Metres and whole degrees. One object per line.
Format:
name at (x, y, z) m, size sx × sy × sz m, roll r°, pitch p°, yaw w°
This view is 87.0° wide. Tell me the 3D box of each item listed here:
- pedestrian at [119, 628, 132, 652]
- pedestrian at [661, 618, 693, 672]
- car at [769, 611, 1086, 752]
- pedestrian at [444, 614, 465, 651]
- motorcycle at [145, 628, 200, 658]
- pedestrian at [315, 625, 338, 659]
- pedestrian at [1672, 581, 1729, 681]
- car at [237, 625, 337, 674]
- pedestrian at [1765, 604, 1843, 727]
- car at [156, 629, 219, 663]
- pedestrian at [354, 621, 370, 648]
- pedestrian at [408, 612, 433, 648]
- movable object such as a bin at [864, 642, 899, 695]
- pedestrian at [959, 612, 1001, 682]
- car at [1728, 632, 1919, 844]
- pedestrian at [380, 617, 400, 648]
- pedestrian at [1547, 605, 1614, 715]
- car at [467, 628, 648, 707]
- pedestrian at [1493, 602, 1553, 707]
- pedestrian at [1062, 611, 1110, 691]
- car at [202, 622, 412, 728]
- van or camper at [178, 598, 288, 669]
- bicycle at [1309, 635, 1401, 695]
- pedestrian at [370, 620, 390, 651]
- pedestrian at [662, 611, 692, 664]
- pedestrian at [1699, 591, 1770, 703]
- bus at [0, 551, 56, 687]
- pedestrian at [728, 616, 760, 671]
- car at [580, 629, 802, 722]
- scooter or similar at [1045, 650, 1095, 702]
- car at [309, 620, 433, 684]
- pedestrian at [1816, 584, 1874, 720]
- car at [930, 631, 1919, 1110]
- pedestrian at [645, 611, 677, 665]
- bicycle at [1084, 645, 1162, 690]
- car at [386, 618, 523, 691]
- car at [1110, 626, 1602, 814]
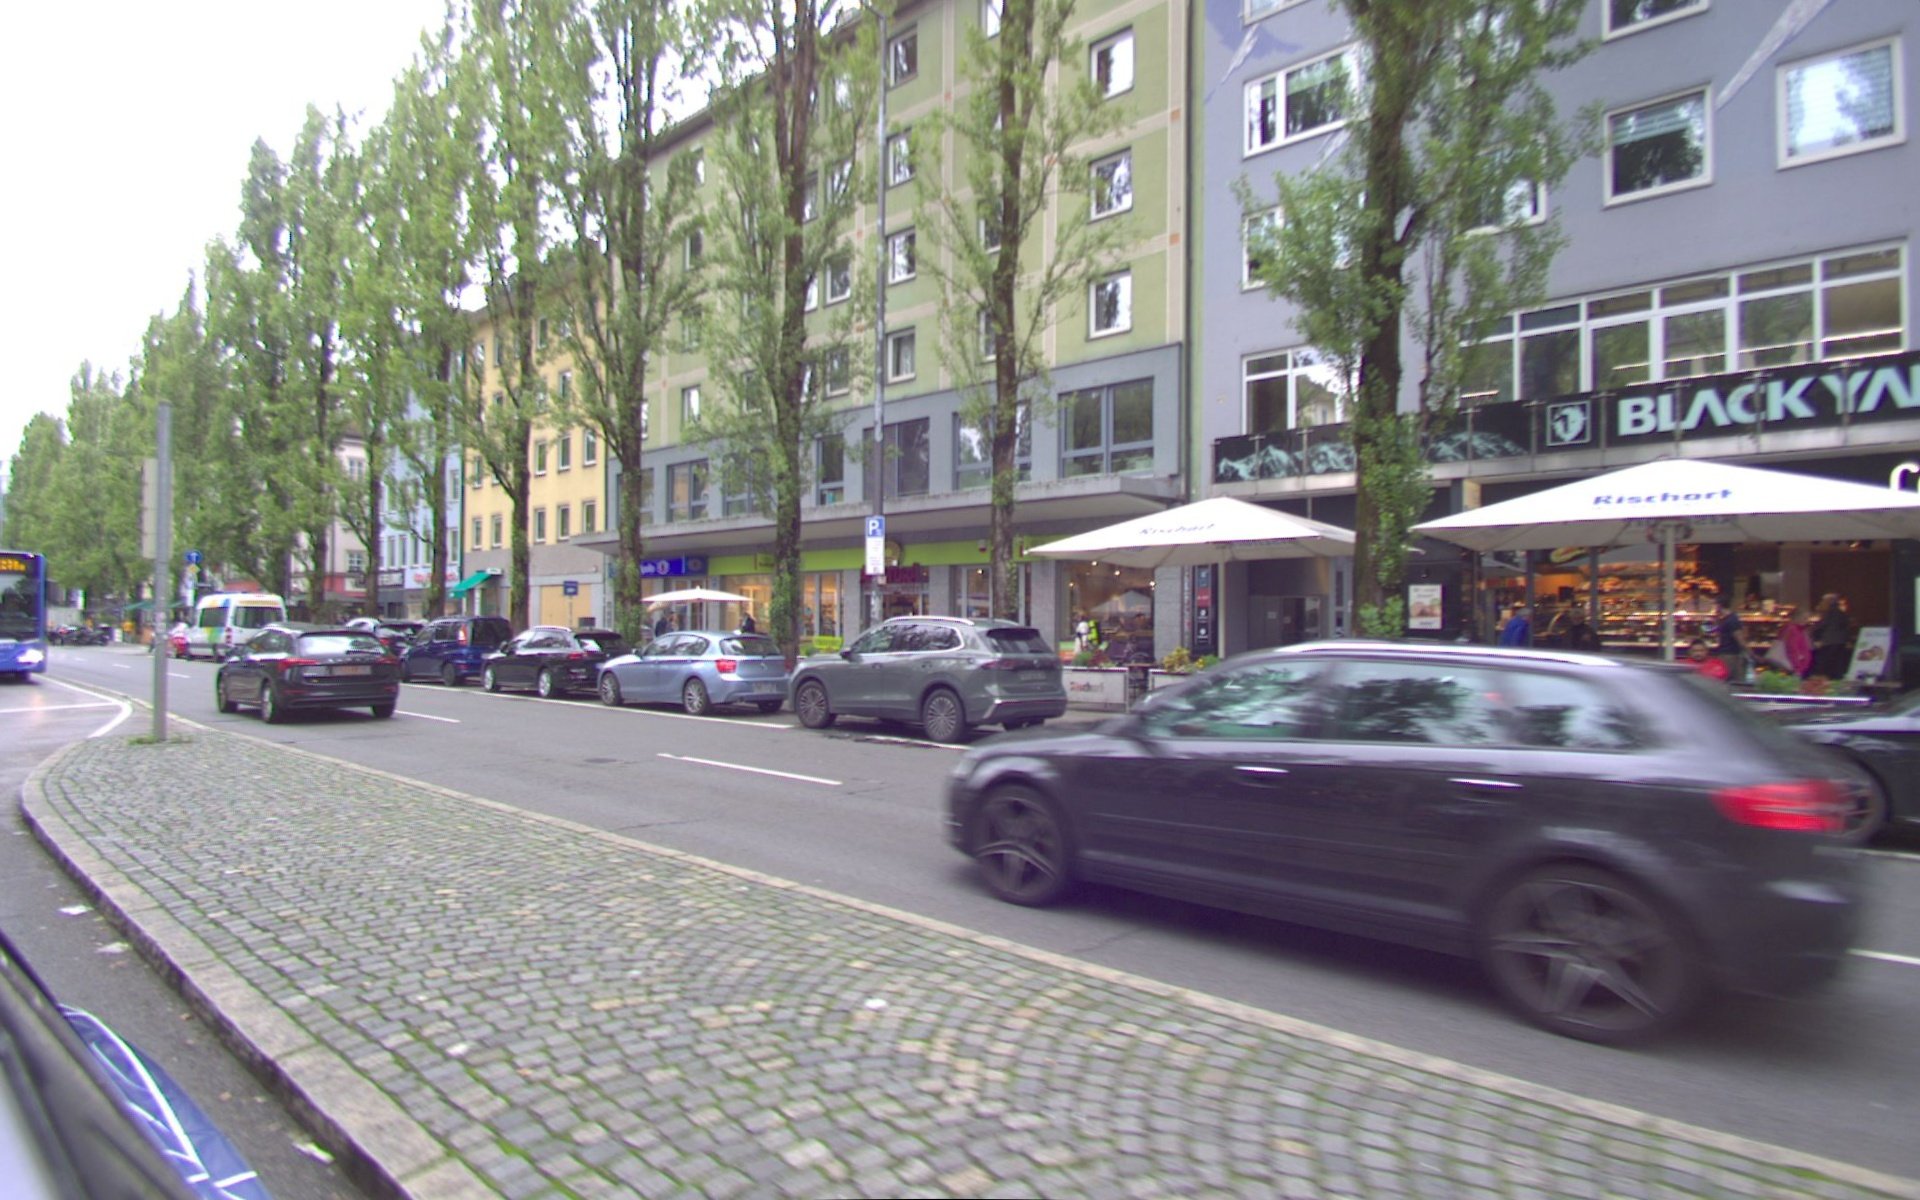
pedestrian at (-55.805, 2.643, 67.704) m, size 0.600 × 1.601 × 0.552 m, roll 1°, pitch -2°, yaw -37°
pedestrian at (-8.938, 1.417, 31.990) m, size 0.711 × 1.663 × 0.714 m, roll -2°, pitch -2°, yaw 42°
car at (-0.600, 1.038, 14.381) m, size 4.586 × 1.693 × 1.760 m, roll -1°, pitch -3°, yaw 43°
pedestrian at (-23.279, 1.487, 46.618) m, size 0.723 × 1.717 × 0.632 m, roll -2°, pitch -2°, yaw 41°
motorcycle at (-37.761, 2.046, 48.560) m, size 0.569 × 1.432 × 2.000 m, roll -1°, pitch -2°, yaw 34°
pedestrian at (-27.137, 1.791, 43.354) m, size 0.667 × 1.449 × 0.611 m, roll 0°, pitch -2°, yaw -9°
pedestrian at (13.837, 0.582, 18.910) m, size 0.743 × 1.818 × 0.772 m, roll -2°, pitch -2°, yaw 44°
car at (-23.069, 1.664, 34.639) m, size 4.257 × 1.541 × 1.686 m, roll -1°, pitch -3°, yaw 40°
pedestrian at (11.521, 0.870, 13.816) m, size 0.756 × 1.614 × 0.732 m, roll -2°, pitch -2°, yaw 43°
car at (-33.505, 1.967, 43.880) m, size 3.761 × 1.422 × 1.538 m, roll -1°, pitch -2°, yaw 43°
pedestrian at (-32.758, 1.870, 55.474) m, size 0.551 × 1.449 × 0.602 m, roll -1°, pitch -2°, yaw 41°
pedestrian at (-22.520, 1.251, 42.238) m, size 0.550 × 1.449 × 0.759 m, roll -1°, pitch -2°, yaw 37°
movable object such as a bin at (-1.620, 1.410, 20.923) m, size 0.654 × 1.055 × 0.729 m, roll 0°, pitch -2°, yaw 2°
pedestrian at (0.491, 1.137, 24.957) m, size 0.756 × 1.685 × 0.701 m, roll -1°, pitch -2°, yaw 42°
car at (7.959, 0.966, 6.736) m, size 4.432 × 1.423 × 1.685 m, roll -1°, pitch -3°, yaw 42°
pedestrian at (-30.673, 1.733, 54.453) m, size 0.706 × 1.663 × 0.714 m, roll -2°, pitch -2°, yaw 42°
pedestrian at (9.461, 0.892, 15.424) m, size 0.742 × 1.614 × 0.745 m, roll -1°, pitch -2°, yaw 40°
car at (-8.617, 1.357, 21.475) m, size 4.584 × 1.457 × 1.685 m, roll -1°, pitch -2°, yaw 42°
pedestrian at (9.829, 0.933, 17.658) m, size 0.755 × 1.768 × 0.732 m, roll -2°, pitch -2°, yaw 42°
pedestrian at (2.854, 1.151, 22.994) m, size 0.756 × 1.768 × 0.810 m, roll -1°, pitch -2°, yaw 42°
car at (-10.545, 1.125, 16.232) m, size 4.048 × 1.476 × 1.738 m, roll -1°, pitch -3°, yaw 41°
van or camper at (-28.347, 1.278, 39.358) m, size 6.642 × 2.570 × 2.103 m, roll -1°, pitch -2°, yaw 42°
bicycle at (7.659, 1.239, 19.633) m, size 1.575 × 1.105 × 0.612 m, roll -1°, pitch -2°, yaw 31°
pedestrian at (-27.730, 1.695, 48.393) m, size 0.550 × 1.449 × 0.641 m, roll -1°, pitch -2°, yaw 37°
pedestrian at (-9.666, 1.269, 34.556) m, size 0.715 × 1.808 × 0.739 m, roll -1°, pitch -2°, yaw 42°
pedestrian at (11.870, 0.709, 15.510) m, size 0.756 × 1.653 × 0.732 m, roll -2°, pitch -2°, yaw 43°
bus at (-25.784, 0.523, 25.649) m, size 12.852 × 2.925 × 2.770 m, roll -1°, pitch -2°, yaw 41°
pedestrian at (-7.070, 1.409, 33.133) m, size 0.715 × 1.768 × 0.714 m, roll -1°, pitch -2°, yaw 42°
car at (-4.935, 1.275, 18.222) m, size 4.398 × 1.428 × 1.641 m, roll -1°, pitch -3°, yaw 40°
scooter or similar at (2.188, 1.510, 20.270) m, size 0.433 × 0.948 × 1.248 m, roll 1°, pitch 0°, yaw -23°
car at (-16.822, 1.434, 28.819) m, size 4.502 × 1.645 × 1.685 m, roll -1°, pitch -3°, yaw 42°
pedestrian at (14.959, 0.856, 17.121) m, size 0.692 × 2.228 × 0.772 m, roll -1°, pitch -2°, yaw 41°
car at (1.994, 0.874, 4.919) m, size 4.175 × 1.372 × 1.816 m, roll -1°, pitch -4°, yaw 42°
pedestrian at (-10.067, 1.274, 34.083) m, size 0.715 × 1.808 × 0.739 m, roll -1°, pitch -2°, yaw 42°
bicycle at (3.776, 1.561, 23.558) m, size 1.849 × 0.979 × 0.474 m, roll -1°, pitch -2°, yaw 42°
car at (-12.776, 1.341, 25.505) m, size 3.768 × 1.699 × 1.601 m, roll -1°, pitch -4°, yaw 39°
car at (3.837, 1.041, 10.289) m, size 4.368 × 1.477 × 1.659 m, roll -1°, pitch -3°, yaw 41°
